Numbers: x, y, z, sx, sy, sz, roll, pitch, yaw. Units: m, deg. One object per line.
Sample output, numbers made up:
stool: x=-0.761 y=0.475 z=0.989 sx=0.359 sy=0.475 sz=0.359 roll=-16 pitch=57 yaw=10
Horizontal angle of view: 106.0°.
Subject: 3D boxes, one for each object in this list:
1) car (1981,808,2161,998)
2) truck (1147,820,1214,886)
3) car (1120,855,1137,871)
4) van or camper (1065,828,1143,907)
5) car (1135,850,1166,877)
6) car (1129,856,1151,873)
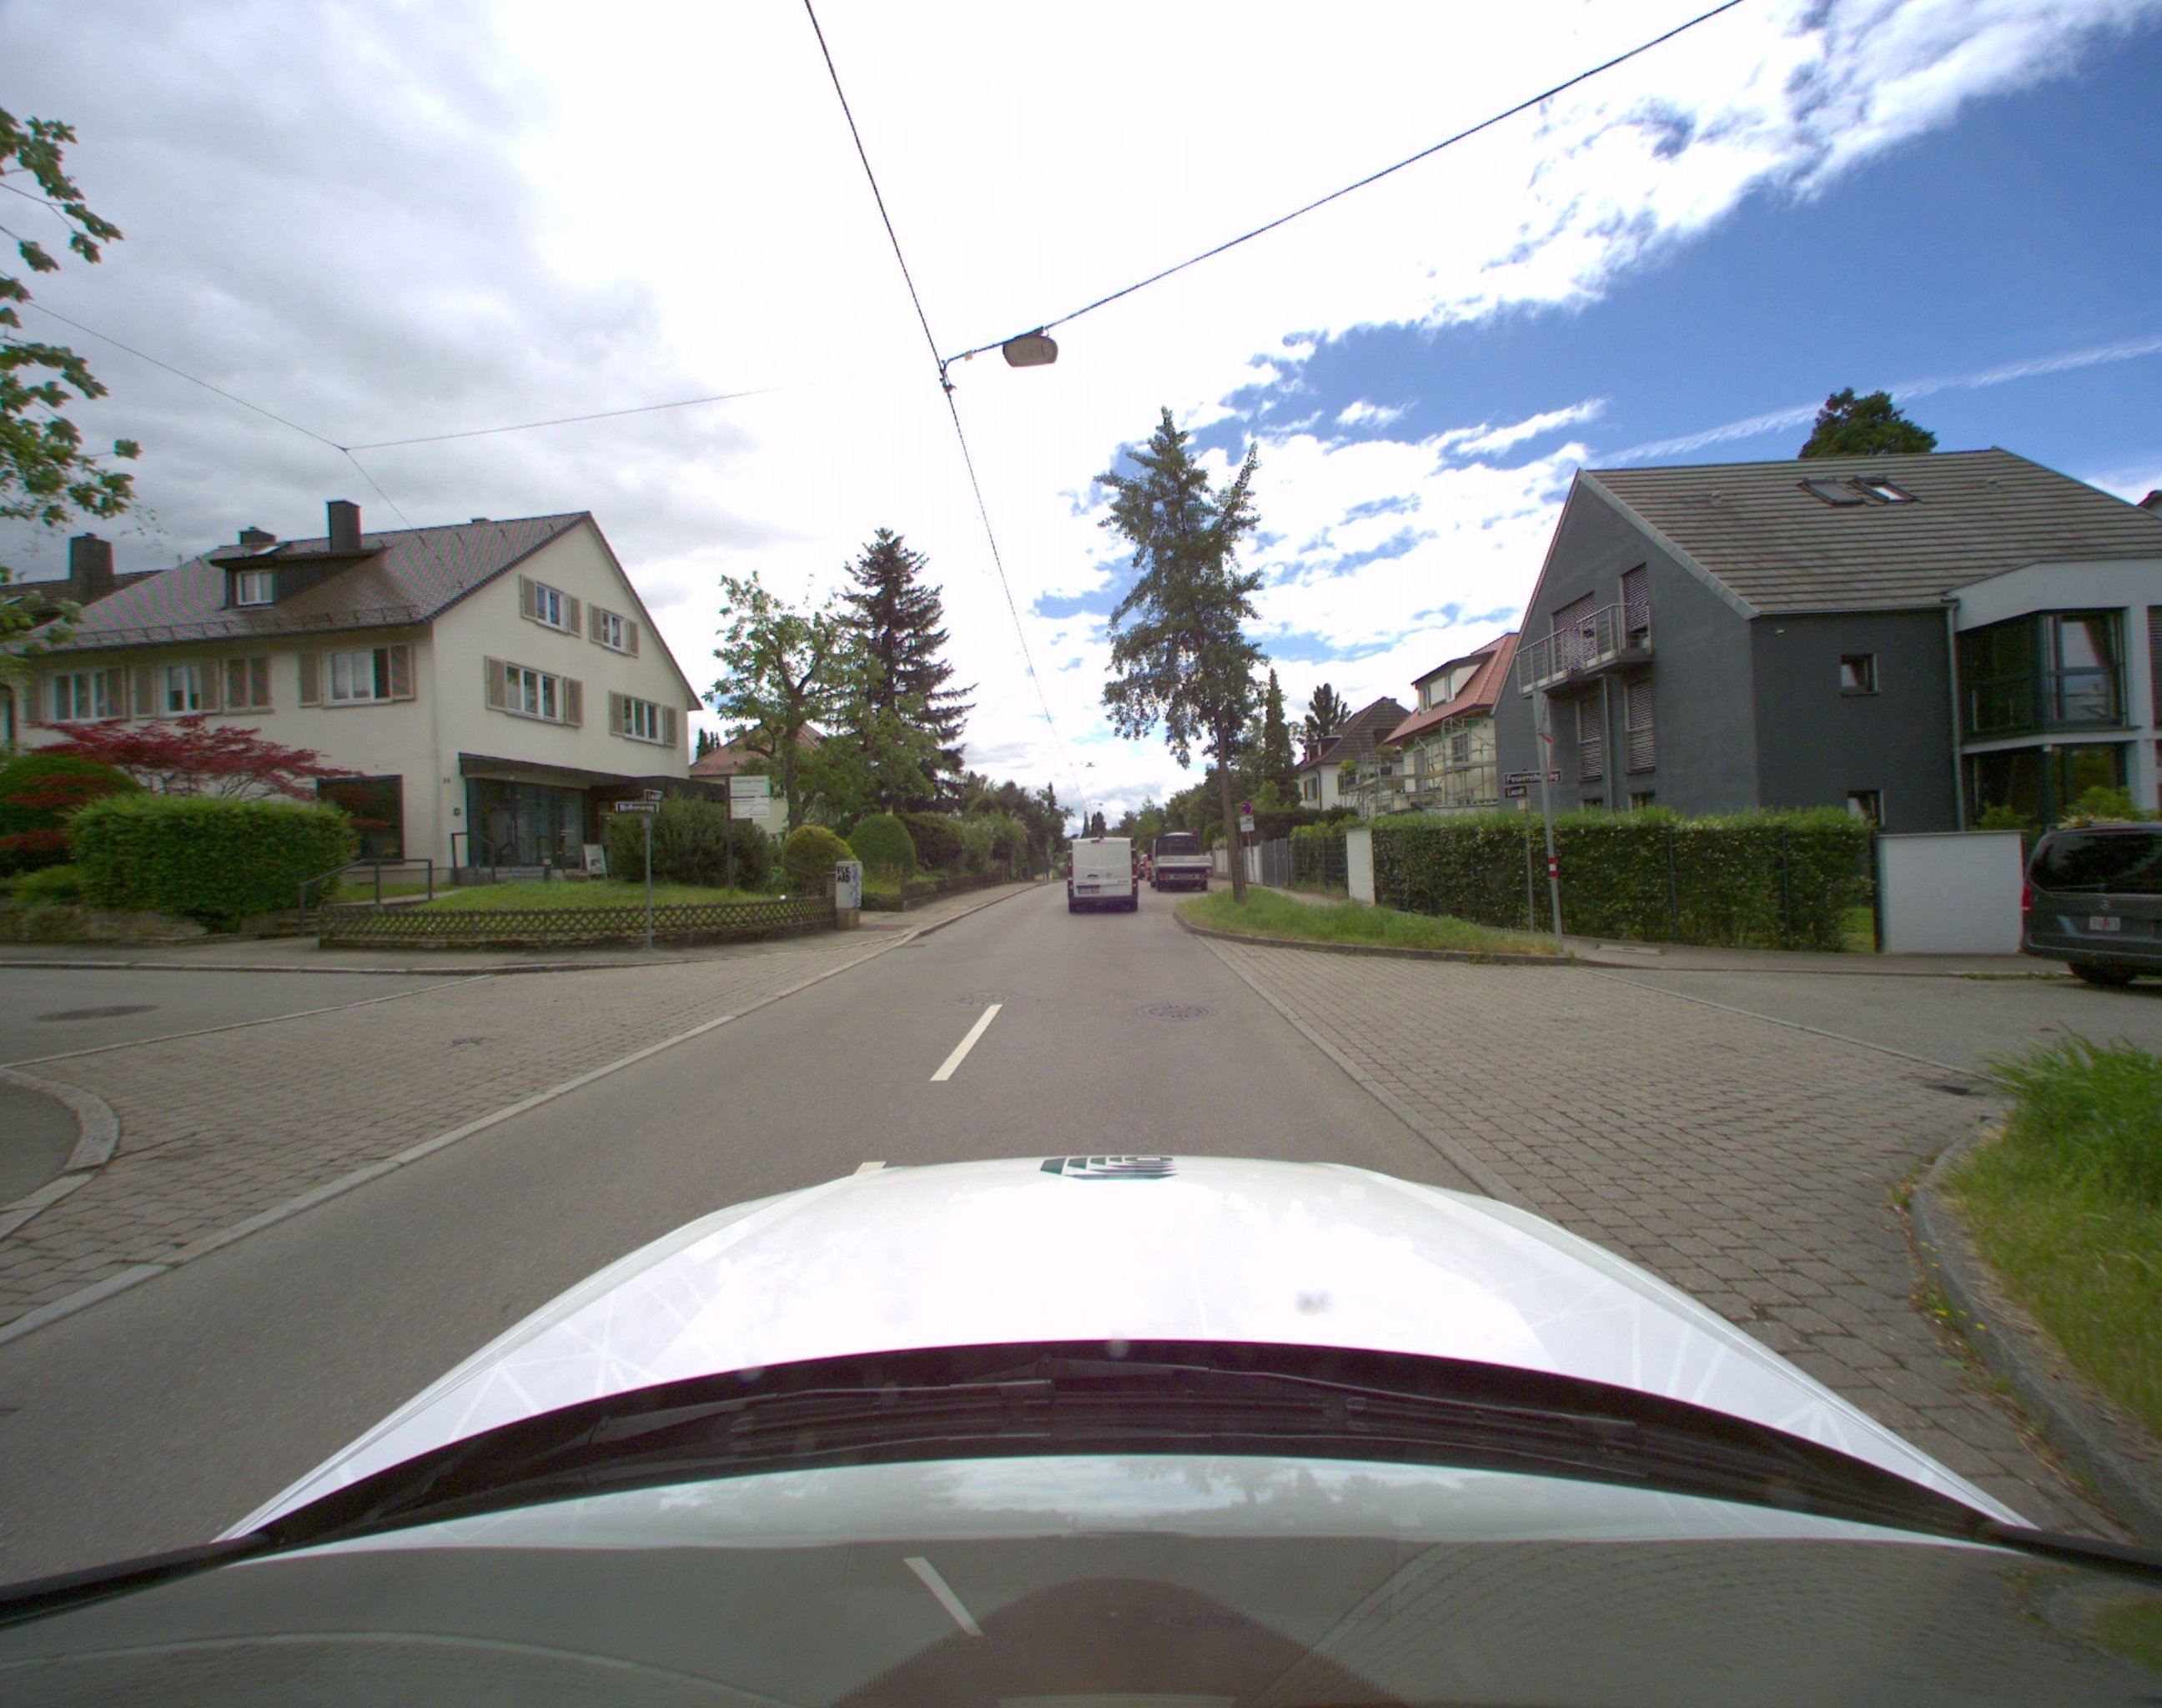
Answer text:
car: x=13.555 y=0.492 z=9.031 sx=4.742 sy=1.966 sz=2.159 roll=0 pitch=0 yaw=1
truck: x=4.093 y=-0.010 z=34.780 sx=2.179 sy=2.472 sz=7.433 roll=-1 pitch=0 yaw=2
car: x=5.291 y=1.036 z=91.030 sx=1.738 sy=1.629 sz=4.260 roll=-3 pitch=-1 yaw=1
van or camper: x=0.636 y=0.404 z=22.967 sx=1.932 sy=1.954 sz=4.765 roll=-1 pitch=-2 yaw=1
car: x=4.689 y=0.646 z=55.219 sx=1.738 sy=1.675 sz=4.185 roll=-3 pitch=-1 yaw=1
car: x=5.375 y=0.979 z=74.209 sx=1.738 sy=1.447 sz=4.260 roll=-3 pitch=-1 yaw=1
